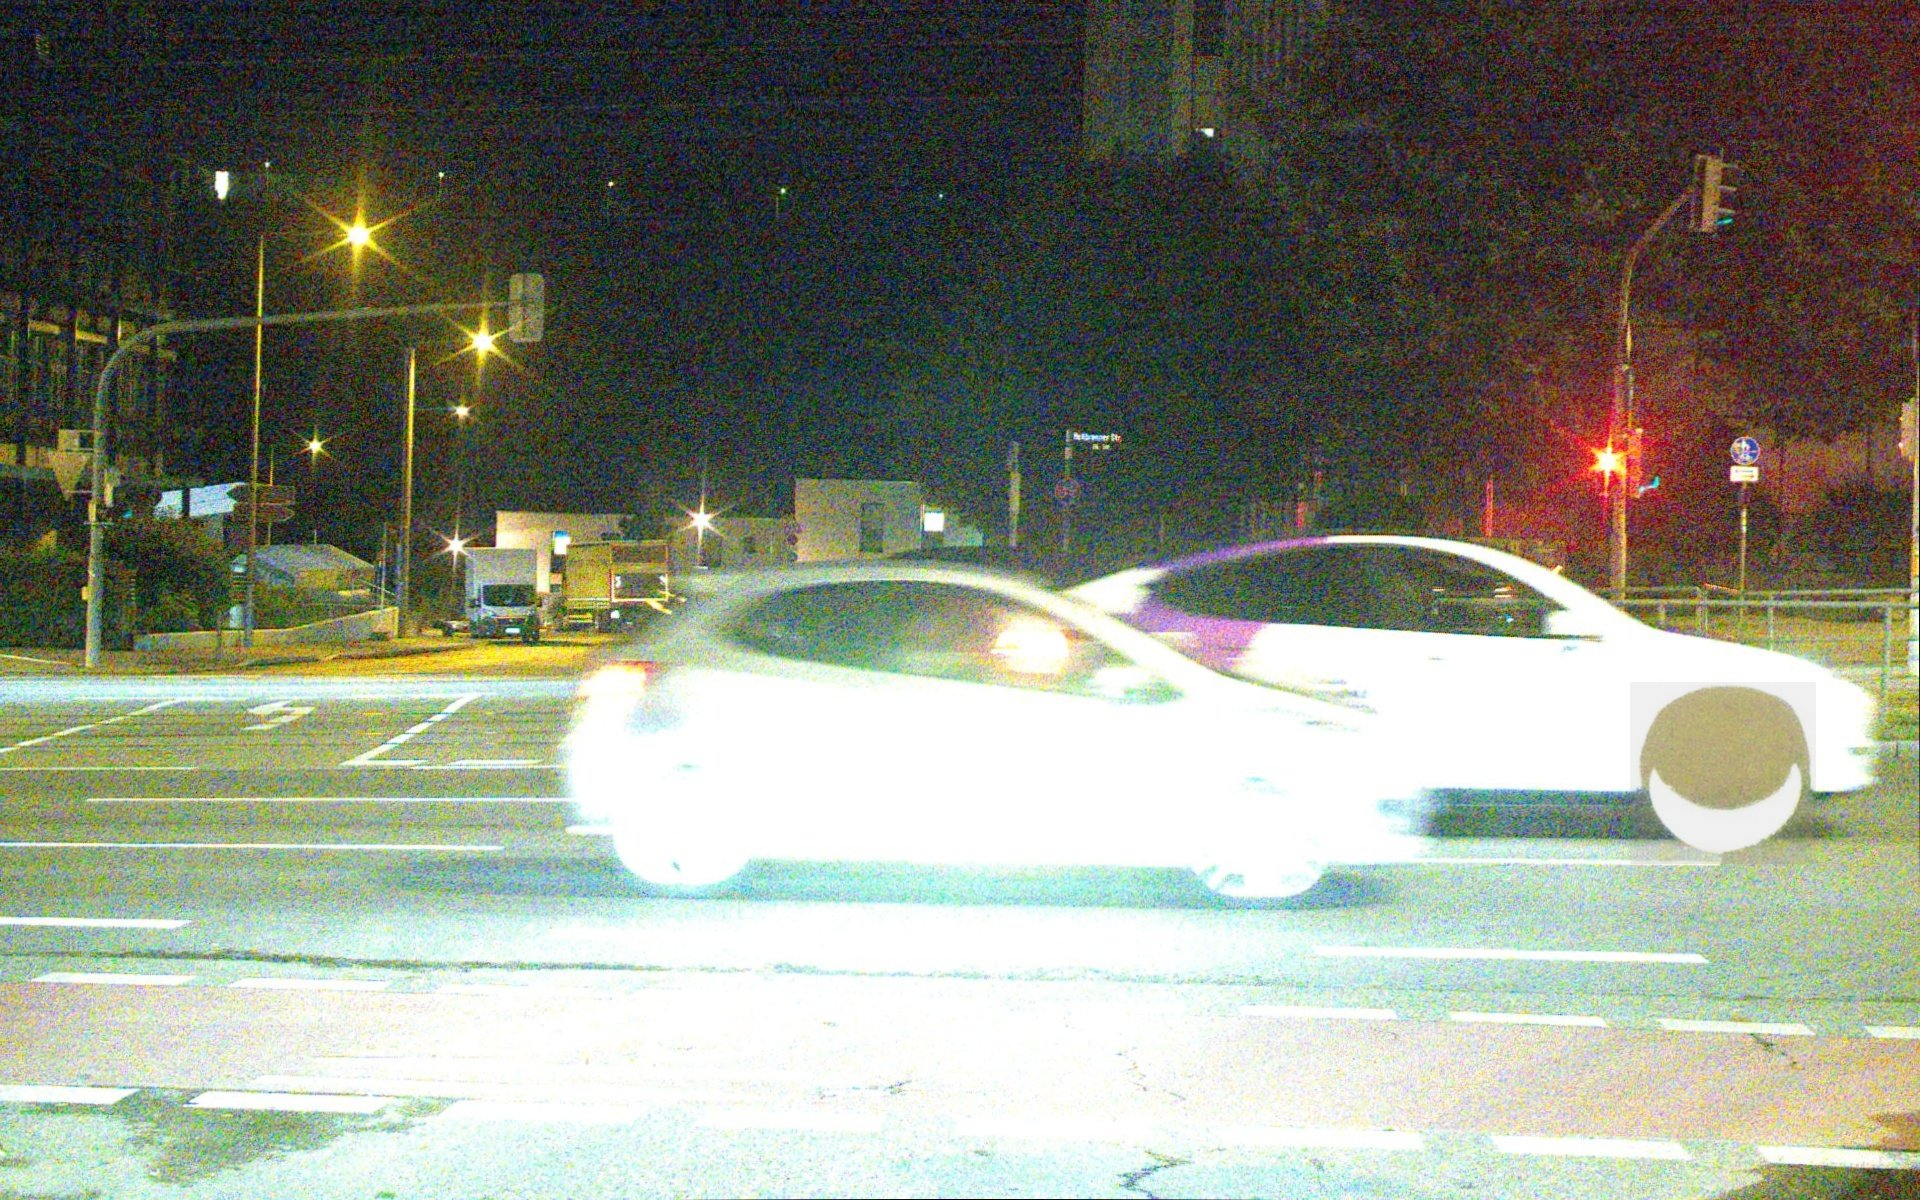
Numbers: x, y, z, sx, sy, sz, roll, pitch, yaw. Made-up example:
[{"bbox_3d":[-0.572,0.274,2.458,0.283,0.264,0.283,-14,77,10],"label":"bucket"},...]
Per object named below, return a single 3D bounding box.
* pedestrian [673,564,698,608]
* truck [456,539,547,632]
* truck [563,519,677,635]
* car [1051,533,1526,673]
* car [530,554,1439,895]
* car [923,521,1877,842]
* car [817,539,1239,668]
[{"bbox_3d":[-11.778,-0.600,147.587,0.849,1.905,1.007,1,0,-18],"label":"pedestrian"},{"bbox_3d":[-16.002,-0.496,119.715,2.417,3.078,6.439,1,0,-14],"label":"truck"},{"bbox_3d":[-14.774,-0.984,148.854,3.359,4.826,7.908,1,0,-17],"label":"truck"},{"bbox_3d":[3.490,0.024,36.987,4.941,1.415,1.851,-1,0,3],"label":"car"},{"bbox_3d":[0.138,0.524,15.629,3.902,1.432,1.745,0,2,3],"label":"car"},{"bbox_3d":[2.323,0.413,18.776,4.921,1.593,1.745,-1,1,3],"label":"car"},{"bbox_3d":[0.822,0.035,40.283,4.819,1.415,1.851,-1,0,3],"label":"car"}]
